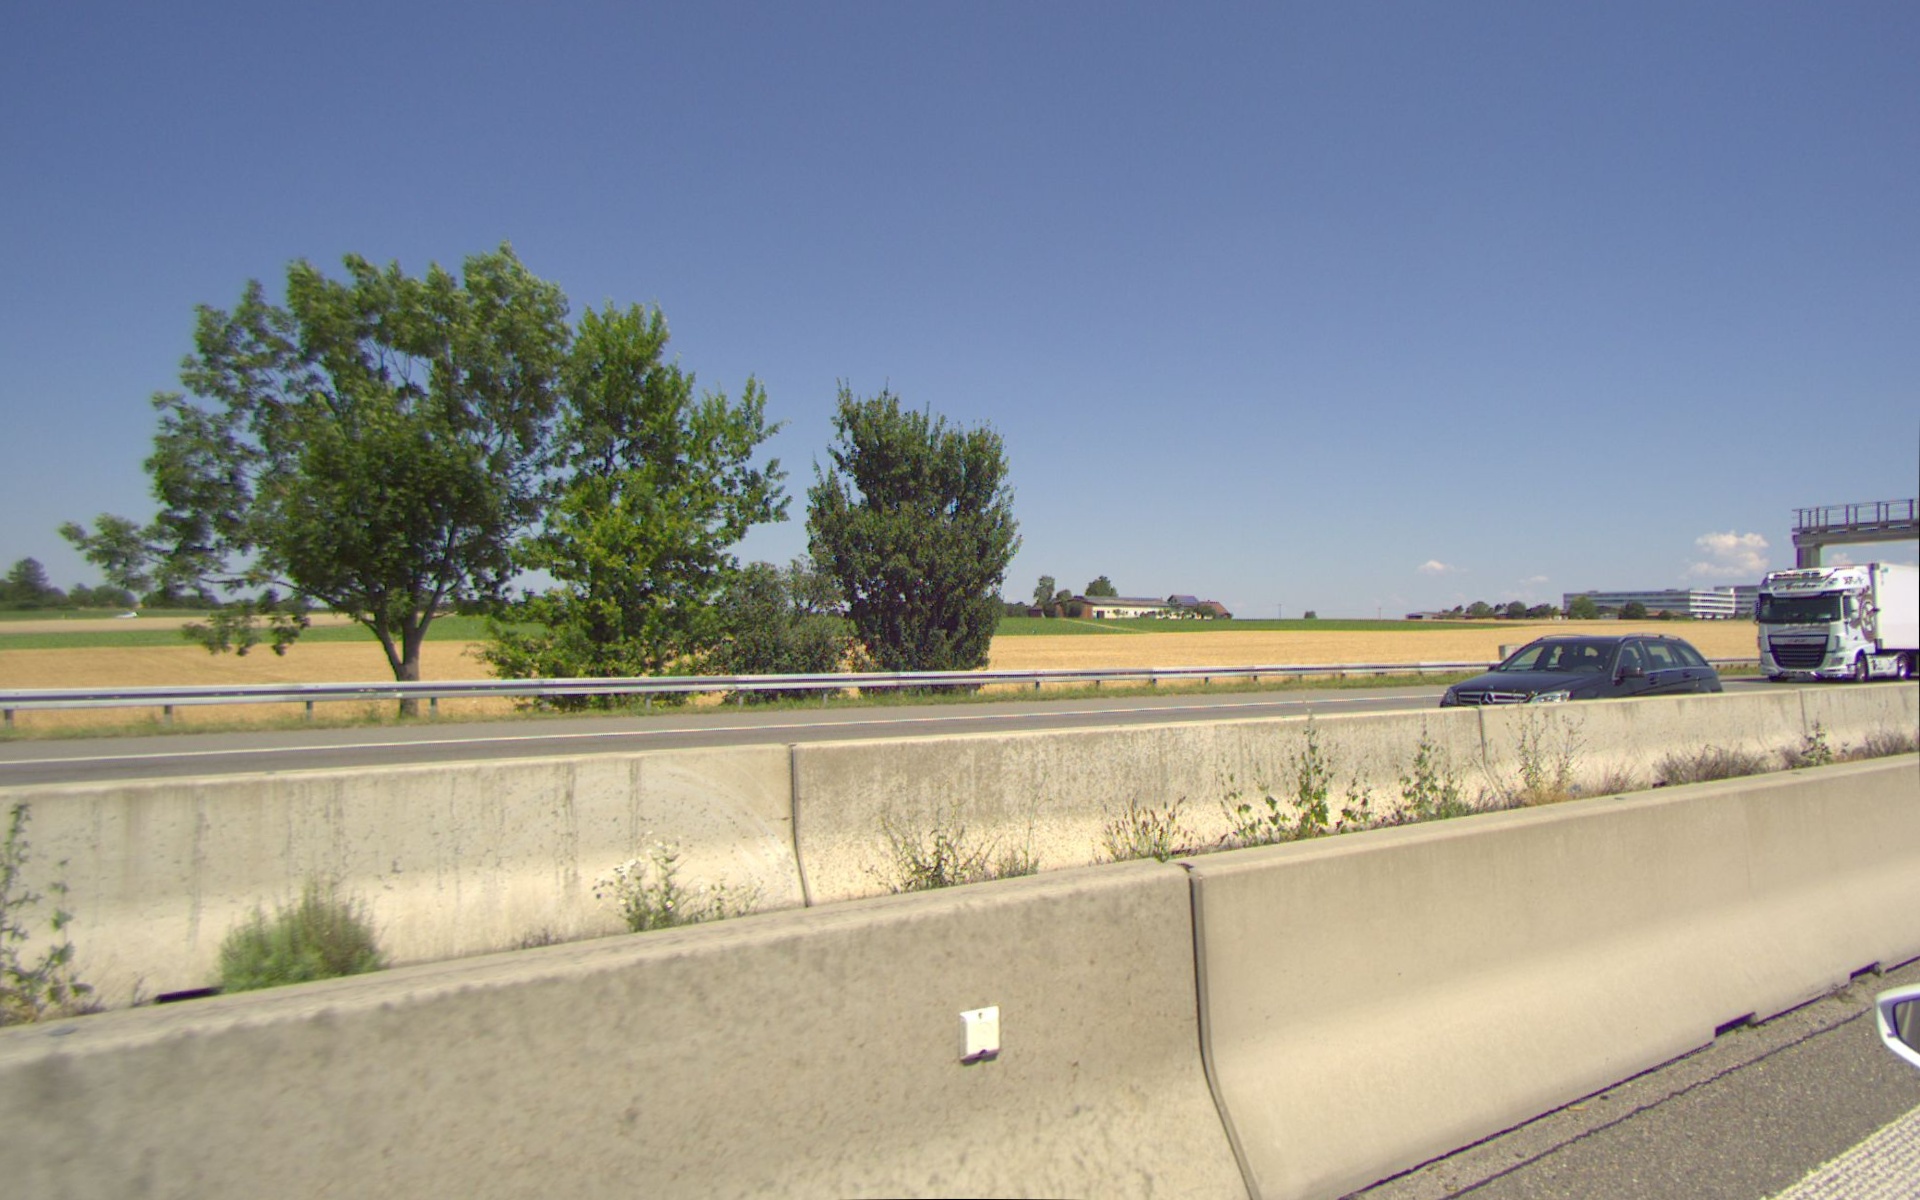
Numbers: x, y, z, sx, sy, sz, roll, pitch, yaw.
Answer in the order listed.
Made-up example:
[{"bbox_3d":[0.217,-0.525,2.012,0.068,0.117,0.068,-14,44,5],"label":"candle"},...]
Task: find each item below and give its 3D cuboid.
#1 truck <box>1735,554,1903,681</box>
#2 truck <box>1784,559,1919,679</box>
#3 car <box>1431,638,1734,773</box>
[{"bbox_3d":[30.728,0.686,35.932,5.408,4.212,2.936,1,-2,-31],"label":"truck"},{"bbox_3d":[37.352,0.826,39.916,12.718,4.212,2.936,1,-2,-31],"label":"truck"},{"bbox_3d":[8.360,1.275,13.391,4.347,1.506,1.664,1,-1,-31],"label":"car"}]
